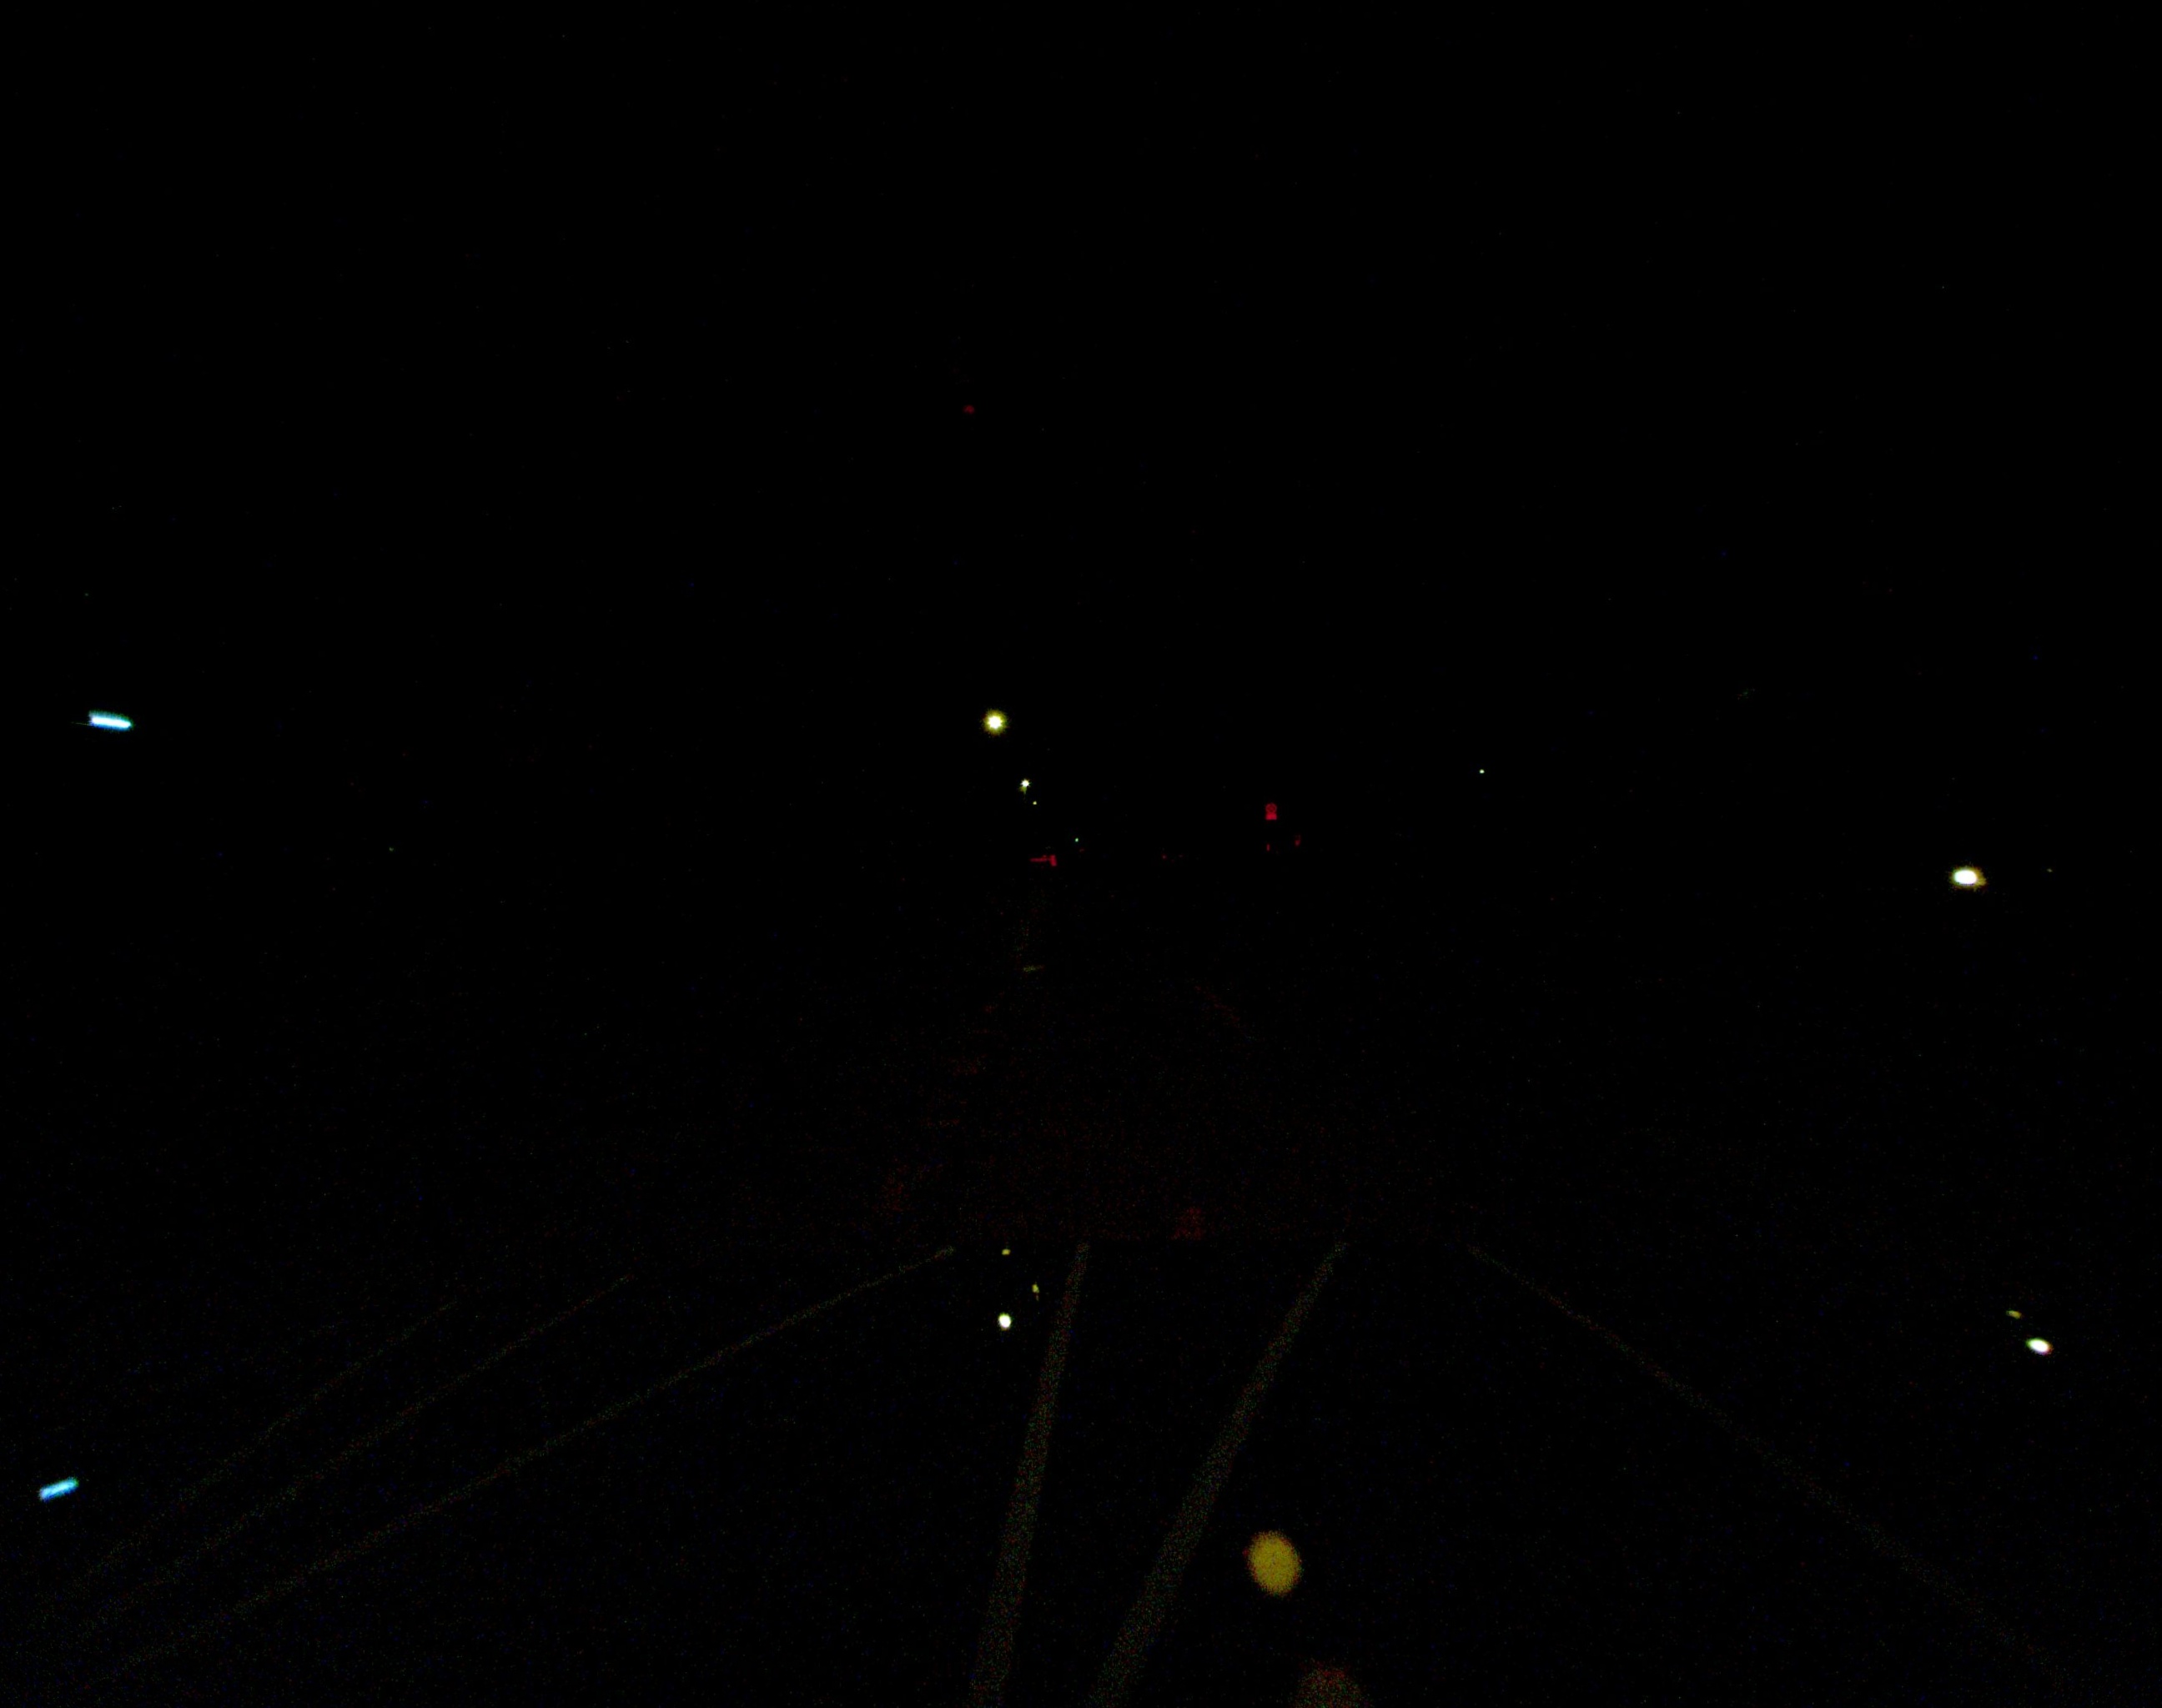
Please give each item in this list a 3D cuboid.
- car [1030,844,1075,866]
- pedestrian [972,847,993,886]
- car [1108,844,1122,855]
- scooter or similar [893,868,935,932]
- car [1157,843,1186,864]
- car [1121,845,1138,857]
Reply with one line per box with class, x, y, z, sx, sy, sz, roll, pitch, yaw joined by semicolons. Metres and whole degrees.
car;-2.599;0.071;70.786;3.997;1.821;1.912;-3;2;0
pedestrian;-4.803;0.601;37.090;0.824;1.809;0.608;-3;2;1
car;5.170;-0.726;116.706;1.911;1.445;3.999;-3;2;1
scooter or similar;-3.573;0.962;16.319;0.570;1.271;1.391;0;0;0
car;7.221;-0.033;61.008;1.911;1.445;3.999;-3;2;1
car;6.368;-0.425;100.445;1.911;1.445;3.999;-3;2;1
